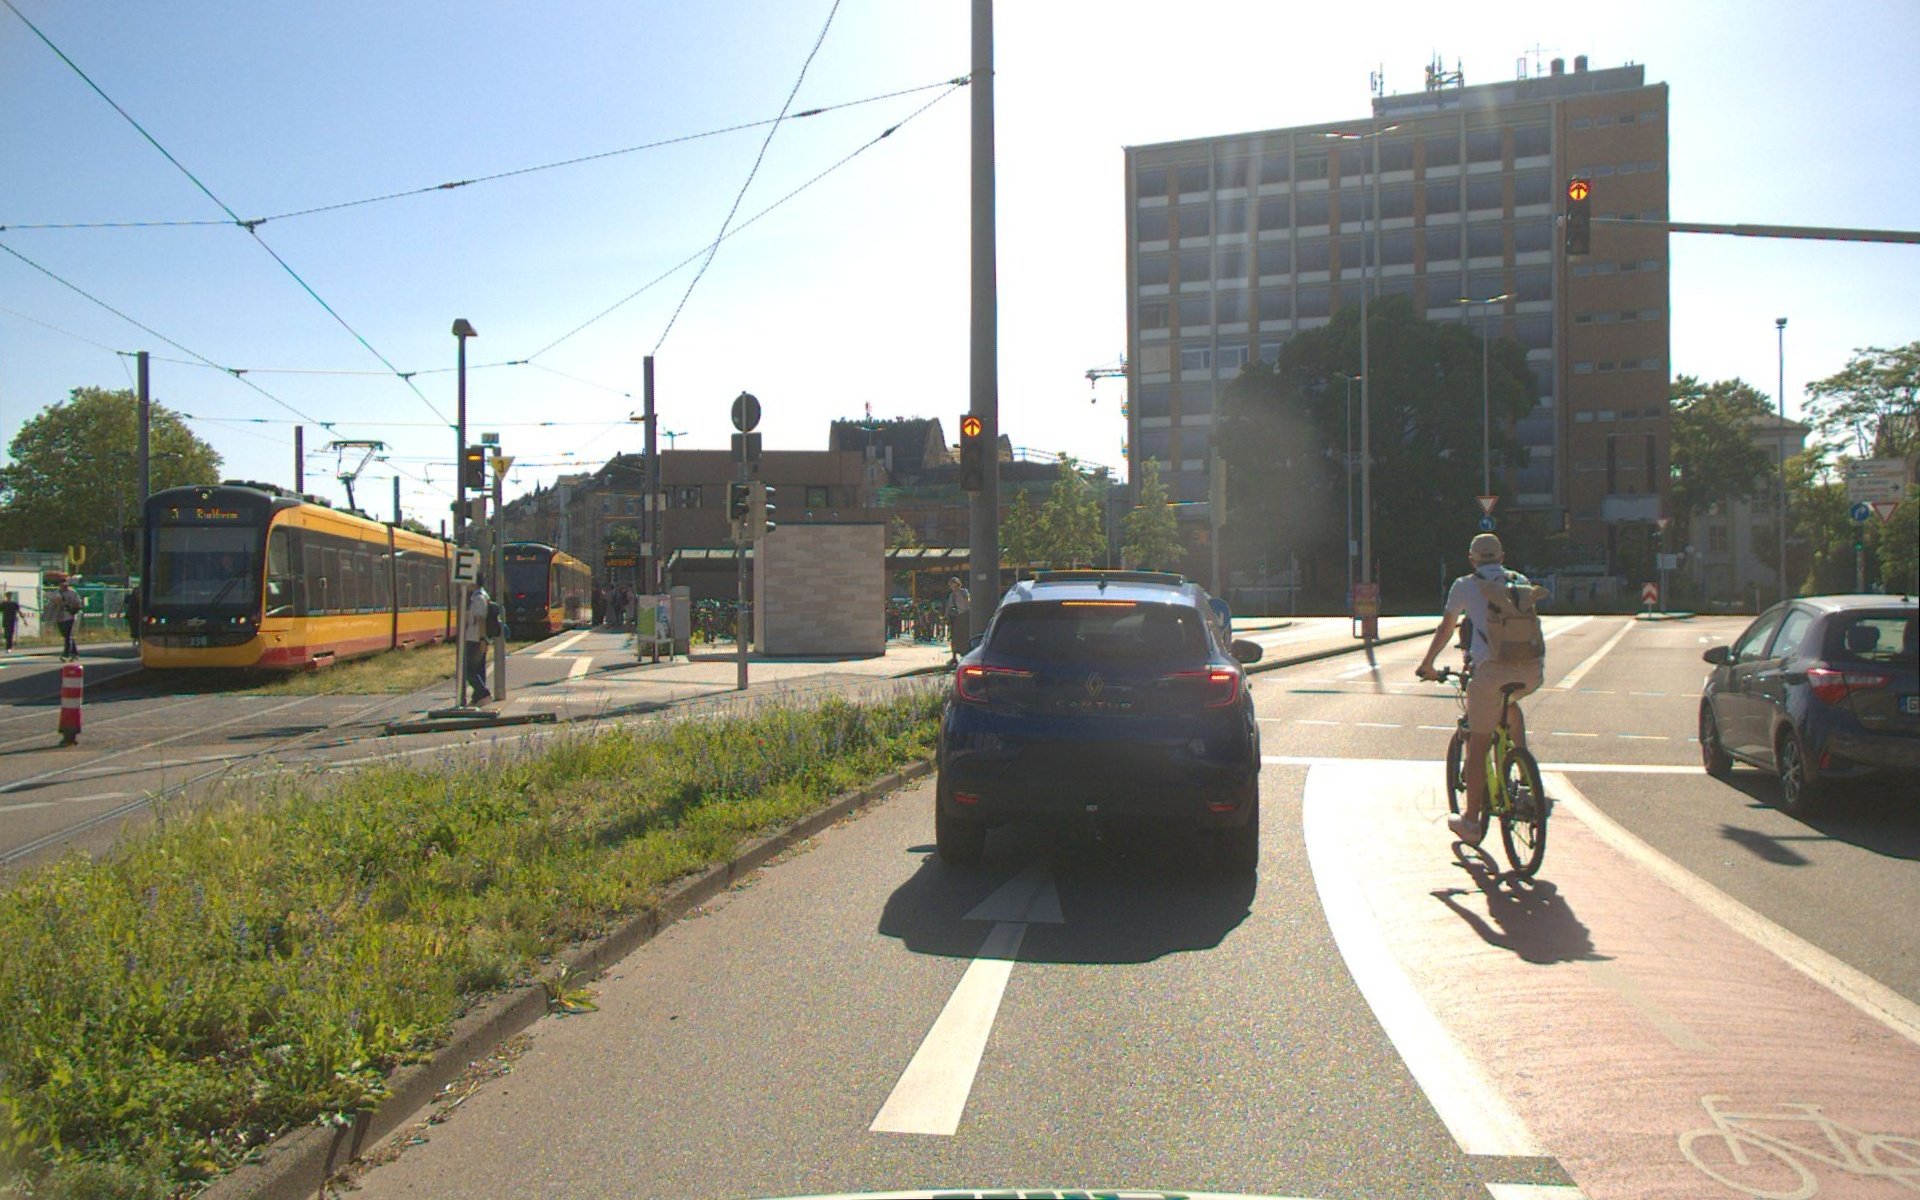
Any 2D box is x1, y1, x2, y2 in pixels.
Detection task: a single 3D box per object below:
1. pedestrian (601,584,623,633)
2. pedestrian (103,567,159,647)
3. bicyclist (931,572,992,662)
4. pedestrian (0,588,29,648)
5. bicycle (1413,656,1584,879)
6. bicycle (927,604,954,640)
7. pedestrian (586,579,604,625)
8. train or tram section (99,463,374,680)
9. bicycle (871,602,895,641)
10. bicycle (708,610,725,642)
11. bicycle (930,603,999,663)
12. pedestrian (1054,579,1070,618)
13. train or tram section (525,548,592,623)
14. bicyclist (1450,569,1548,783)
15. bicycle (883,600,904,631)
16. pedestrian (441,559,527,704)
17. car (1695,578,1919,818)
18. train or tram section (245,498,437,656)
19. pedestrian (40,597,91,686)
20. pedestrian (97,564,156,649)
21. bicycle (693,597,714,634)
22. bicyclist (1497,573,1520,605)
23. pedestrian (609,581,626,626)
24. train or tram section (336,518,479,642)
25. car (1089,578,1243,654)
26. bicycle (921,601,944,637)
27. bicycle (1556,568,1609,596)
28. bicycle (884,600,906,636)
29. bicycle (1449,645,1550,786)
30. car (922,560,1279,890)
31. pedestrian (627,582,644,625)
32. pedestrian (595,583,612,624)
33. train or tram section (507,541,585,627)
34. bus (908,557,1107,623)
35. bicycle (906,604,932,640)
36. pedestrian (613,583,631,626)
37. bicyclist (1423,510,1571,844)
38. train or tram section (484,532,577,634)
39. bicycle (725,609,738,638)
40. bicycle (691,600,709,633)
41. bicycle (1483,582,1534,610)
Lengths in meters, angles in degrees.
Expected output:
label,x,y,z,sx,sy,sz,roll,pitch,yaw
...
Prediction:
label,x,y,z,sx,sy,sz,roll,pitch,yaw
pedestrian,-13.836,0.350,65.781,0.832,1.916,0.758,1,-1,-13
pedestrian,-21.547,0.199,43.000,0.942,2.049,0.998,1,-1,-5
bicyclist,0.038,0.327,31.608,0.861,1.673,1.061,-1,-1,17
pedestrian,-28.684,0.533,50.057,0.656,1.798,0.797,-1,0,-12
bicycle,3.031,0.893,9.465,0.648,1.065,1.892,0,0,9
bicycle,-0.549,0.623,46.756,0.569,0.978,2.056,1,-1,-6
pedestrian,-15.724,0.079,71.248,0.727,1.951,0.740,1,-1,-12
train or tram section,-13.807,-0.499,32.583,2.767,3.569,10.449,-1,0,-12
bicycle,-2.167,0.601,46.365,0.569,1.076,1.814,1,-1,-6
bicycle,-7.592,0.806,51.581,0.414,0.954,1.302,1,0,-12
bicycle,0.102,0.610,31.609,0.757,1.099,2.037,-1,0,17
pedestrian,5.001,-0.075,80.963,0.711,1.889,0.702,1,-1,-2
train or tram section,-20.312,-0.722,84.036,2.820,3.569,10.514,0,0,-11
bicyclist,4.358,0.583,13.432,0.706,1.654,1.055,1,0,16
bicycle,-2.409,0.576,59.903,0.569,1.107,1.868,1,-1,-8
pedestrian,-6.277,0.417,21.779,1.002,1.864,0.755,1,-1,-22
car,6.883,0.633,12.559,1.718,1.568,3.662,0,0,13
train or tram section,-15.731,-0.519,42.884,2.766,3.569,10.584,0,0,-10
pedestrian,-18.425,0.840,34.081,0.851,1.798,0.965,-1,0,-26
pedestrian,-20.473,0.173,40.642,0.942,2.049,0.998,1,-1,-5
bicycle,-7.730,0.474,49.867,0.555,1.112,2.025,1,-1,-8
bicyclist,31.935,-0.629,96.253,1.135,1.829,0.883,0,-1,28
pedestrian,-14.603,0.150,70.450,0.622,1.889,0.700,1,-1,-16
train or tram section,-17.645,-0.580,53.532,2.765,3.569,11.182,0,0,-10
car,4.230,0.289,33.423,1.765,1.417,4.088,-1,0,27
bicycle,-0.876,0.595,52.422,0.569,1.107,2.056,1,-1,-6
bicycle,35.644,-1.022,94.676,2.748,1.568,0.883,0,-1,28
bicycle,-2.062,0.583,52.403,0.569,1.107,2.056,1,-1,-6
bicycle,4.353,0.895,13.436,0.707,0.976,1.885,1,1,16
car,0.960,0.613,10.199,1.784,1.628,3.662,1,0,8
pedestrian,-14.945,0.163,76.101,0.727,1.951,0.740,1,-1,-14
pedestrian,-16.289,0.164,75.591,0.620,1.889,0.702,1,-1,-6
train or tram section,-18.345,-0.678,73.728,2.820,3.569,10.514,0,0,-11
bus,2.446,-0.486,91.728,12.229,3.455,2.864,0,-1,43
bicycle,-1.153,0.616,46.695,0.569,0.978,2.056,1,-1,-6
pedestrian,-14.939,0.189,73.125,0.660,1.889,0.702,1,-1,-6
bicyclist,3.010,0.406,9.343,0.649,1.778,1.006,0,0,9
train or tram section,-16.347,-0.615,63.498,2.820,3.569,10.514,0,0,-11
bicycle,-7.812,0.807,56.620,0.414,0.954,1.376,1,0,-8
bicycle,-8.834,0.565,56.233,0.555,1.112,2.025,1,-1,-8
bicycle,31.929,-0.218,96.253,2.748,1.568,0.883,0,-1,28
